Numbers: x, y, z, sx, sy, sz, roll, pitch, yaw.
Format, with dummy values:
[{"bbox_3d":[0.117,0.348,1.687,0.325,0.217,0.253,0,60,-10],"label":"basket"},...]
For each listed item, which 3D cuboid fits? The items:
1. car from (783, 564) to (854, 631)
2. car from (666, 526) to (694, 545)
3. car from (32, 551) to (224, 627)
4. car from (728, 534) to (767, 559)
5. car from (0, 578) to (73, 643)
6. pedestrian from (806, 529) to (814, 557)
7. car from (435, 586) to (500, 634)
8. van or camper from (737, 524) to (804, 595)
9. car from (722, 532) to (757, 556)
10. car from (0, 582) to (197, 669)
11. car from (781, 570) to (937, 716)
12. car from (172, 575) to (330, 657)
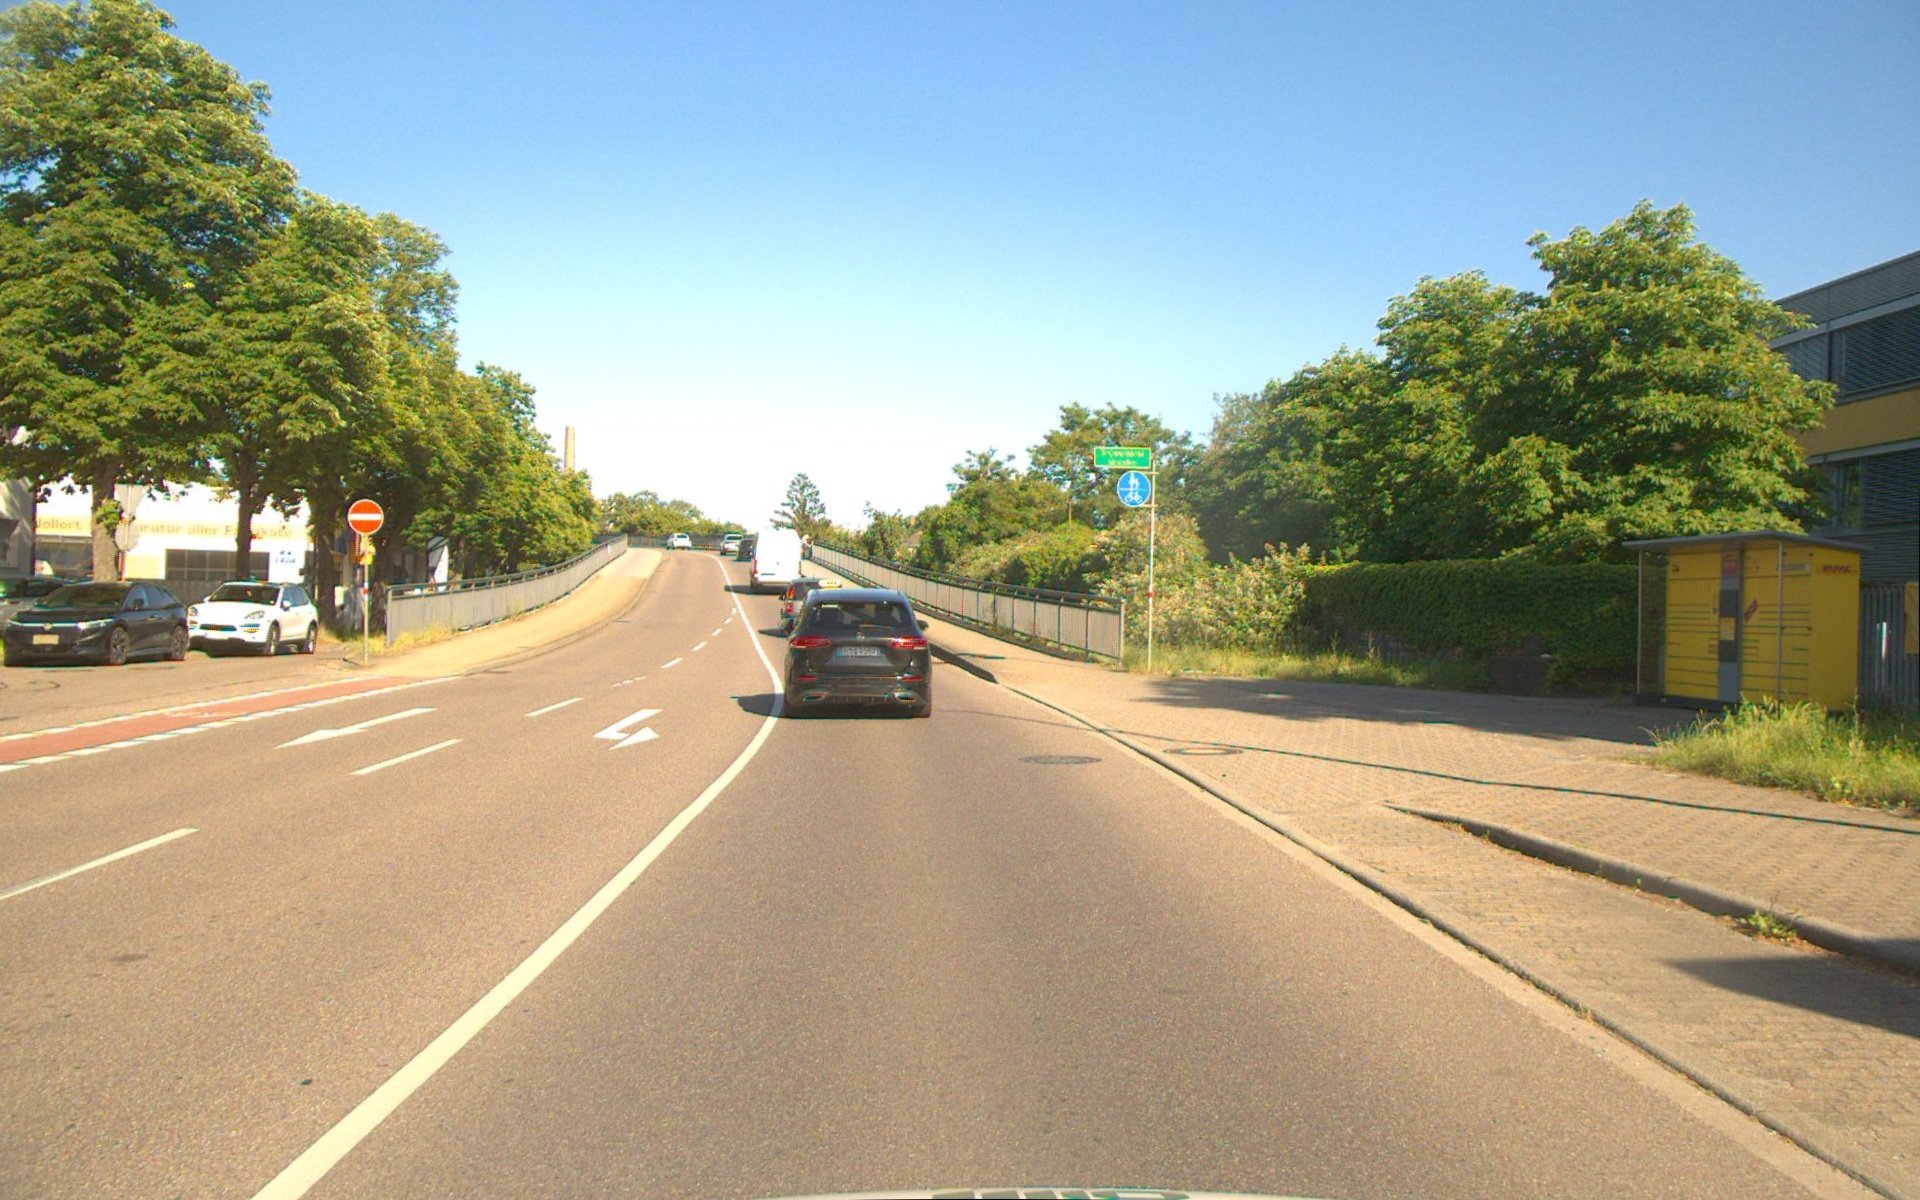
[{"bbox_3d":[-3.786,-0.041,44.027,1.770,1.669,3.995,1,-1,-6],"label":"car"},{"bbox_3d":[-25.887,-5.958,152.742,1.849,1.570,3.976,1,1,-20],"label":"car"},{"bbox_3d":[-30.057,-0.371,59.922,2.102,2.606,5.848,1,0,45],"label":"car"},{"bbox_3d":[-13.989,-3.515,109.073,1.878,1.514,4.271,0,0,2],"label":"car"},{"bbox_3d":[-23.638,0.225,40.073,3.626,1.536,1.764,1,1,-34],"label":"car"},{"bbox_3d":[-9.691,-3.652,106.937,0.463,1.780,0.652,1,0,-9],"label":"pedestrian"},{"bbox_3d":[-22.159,0.423,74.599,1.885,2.026,4.254,1,1,-4],"label":"car"},{"bbox_3d":[-8.101,-1.691,70.258,2.187,2.787,7.061,1,1,-11],"label":"van or camper"},{"bbox_3d":[-16.748,-4.247,125.836,1.952,1.709,4.001,0,0,2],"label":"car"},{"bbox_3d":[-16.326,0.436,31.281,1.999,1.489,4.953,1,0,-7],"label":"car"},{"bbox_3d":[-1.211,0.496,20.856,1.734,1.620,3.987,1,0,-2],"label":"car"},{"bbox_3d":[-16.744,0.340,39.353,1.999,1.759,5.228,2,0,-7],"label":"car"}]
